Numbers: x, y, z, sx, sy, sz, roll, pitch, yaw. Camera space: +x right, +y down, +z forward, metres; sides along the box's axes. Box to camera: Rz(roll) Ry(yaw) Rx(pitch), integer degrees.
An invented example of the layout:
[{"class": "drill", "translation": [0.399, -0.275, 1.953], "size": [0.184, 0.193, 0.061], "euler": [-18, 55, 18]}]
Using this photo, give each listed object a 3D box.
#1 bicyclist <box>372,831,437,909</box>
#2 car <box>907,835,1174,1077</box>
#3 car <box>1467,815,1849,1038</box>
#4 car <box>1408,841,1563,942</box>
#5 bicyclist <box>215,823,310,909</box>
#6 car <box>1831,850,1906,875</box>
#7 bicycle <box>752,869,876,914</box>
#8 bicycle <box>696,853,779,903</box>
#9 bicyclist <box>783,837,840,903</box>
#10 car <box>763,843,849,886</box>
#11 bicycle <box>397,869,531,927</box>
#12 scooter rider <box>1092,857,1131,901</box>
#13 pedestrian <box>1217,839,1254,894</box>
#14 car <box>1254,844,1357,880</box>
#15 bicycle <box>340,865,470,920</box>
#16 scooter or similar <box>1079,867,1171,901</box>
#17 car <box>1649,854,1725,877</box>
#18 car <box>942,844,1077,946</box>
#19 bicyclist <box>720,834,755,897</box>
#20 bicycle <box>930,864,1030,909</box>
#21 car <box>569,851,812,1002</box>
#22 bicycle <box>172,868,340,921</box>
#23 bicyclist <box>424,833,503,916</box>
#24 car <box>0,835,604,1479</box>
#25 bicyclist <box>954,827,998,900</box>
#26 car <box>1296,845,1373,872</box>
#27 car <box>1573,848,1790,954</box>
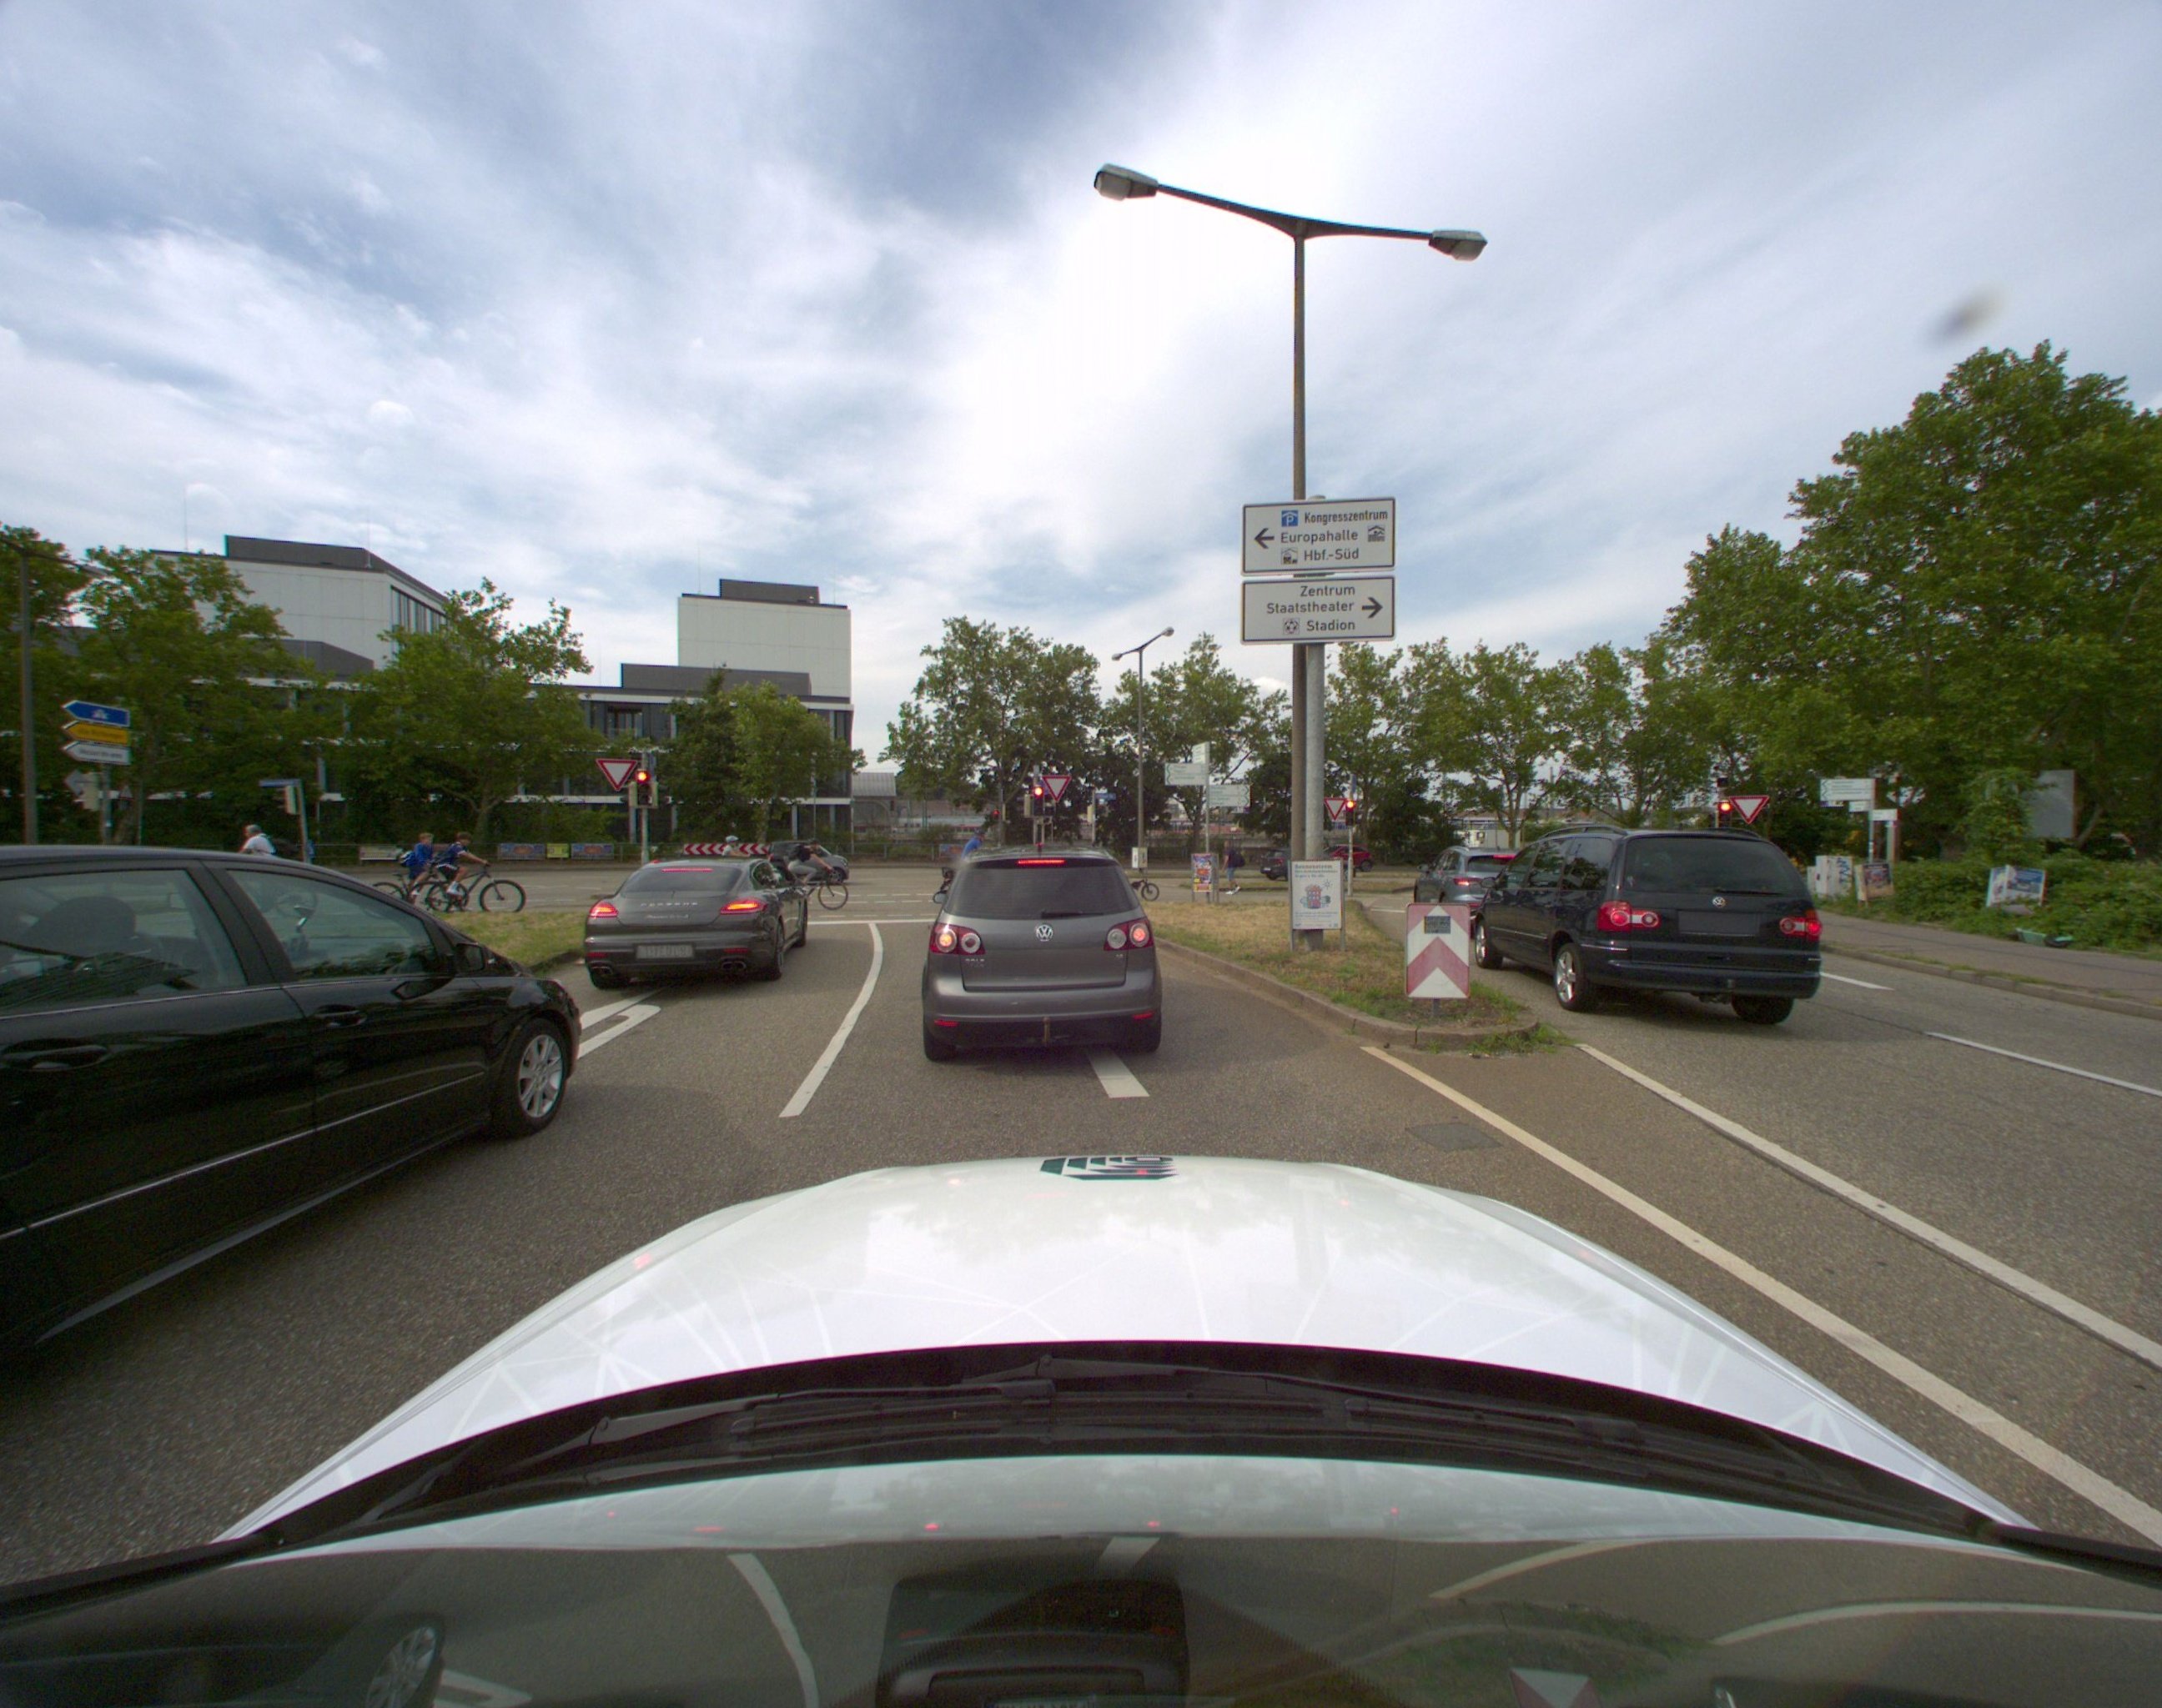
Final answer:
[{"class": "bicyclist", "translation": [-13.659, 0.309, 16.465], "size": [0.842, 1.529, 0.624], "euler": [-1, 1, -22]}, {"class": "car", "translation": [-0.453, 0.643, 7.365], "size": [1.739, 1.546, 4.073], "euler": [-1, 0, -6]}, {"class": "car", "translation": [5.581, 0.568, 8.605], "size": [1.739, 1.724, 4.151], "euler": [2, 0, 11]}, {"class": "car", "translation": [7.397, 0.606, 15.303], "size": [1.679, 1.585, 4.171], "euler": [2, 0, 13]}, {"class": "bicyclist", "translation": [-16.696, 0.224, 16.645], "size": [1.117, 1.696, 0.807], "euler": [-1, 0, -23]}, {"class": "car", "translation": [52.101, 0.530, 53.893], "size": [3.907, 1.596, 1.902], "euler": [-1, 1, -16]}, {"class": "bicycle", "translation": [-6.047, 0.827, 18.510], "size": [2.598, 0.890, 0.698], "euler": [-1, 1, -28]}, {"class": "bicycle", "translation": [-8.770, 0.596, 20.848], "size": [1.907, 1.210, 0.638], "euler": [-1, 1, -20]}, {"class": "bicyclist", "translation": [-6.119, 0.349, 18.462], "size": [1.120, 1.436, 0.642], "euler": [-1, 1, -28]}, {"class": "car", "translation": [-9.362, 0.329, 27.820], "size": [2.719, 1.422, 1.490], "euler": [-1, 0, -19]}, {"class": "bicycle", "translation": [-11.738, 0.816, 15.558], "size": [1.907, 1.013, 0.624], "euler": [-1, 1, -19]}, {"class": "scooter rider", "translation": [0.813, 0.658, 21.938], "size": [0.914, 1.137, 0.806], "euler": [0, 1, -11]}, {"class": "pedestrian", "translation": [4.985, 0.381, 26.201], "size": [1.038, 1.710, 0.858], "euler": [1, 1, 19]}, {"class": "car", "translation": [9.741, 0.314, 35.341], "size": [4.067, 1.450, 1.693], "euler": [-1, 0, -17]}, {"class": "bicycle", "translation": [-13.610, 0.755, 16.463], "size": [1.909, 1.013, 0.624], "euler": [-1, 1, -22]}, {"class": "scooter or similar", "translation": [1.187, 0.802, 22.013], "size": [2.379, 0.849, 0.806], "euler": [0, 1, -11]}, {"class": "car", "translation": [40.047, 0.734, 53.857], "size": [4.336, 1.448, 1.752], "euler": [-1, 0, -15]}, {"class": "car", "translation": [-1.387, 0.596, 14.110], "size": [1.743, 1.482, 4.063], "euler": [-1, 0, -14]}, {"class": "bicyclist", "translation": [-8.778, 0.285, 20.829], "size": [0.782, 1.581, 0.650], "euler": [-1, 1, -20]}, {"class": "bicycle", "translation": [-2.371, 0.737, 19.089], "size": [2.233, 0.952, 0.807], "euler": [-1, 0, -17]}, {"class": "car", "translation": [-4.625, 0.694, 10.433], "size": [1.821, 1.414, 4.754], "euler": [0, 1, -13]}, {"class": "bicycle", "translation": [-16.756, 0.801, 16.624], "size": [2.238, 0.952, 0.805], "euler": [-1, 0, -23]}, {"class": "bicyclist", "translation": [-11.757, 0.370, 15.533], "size": [1.019, 1.539, 0.624], "euler": [-1, 1, -19]}, {"class": "car", "translation": [-3.644, 0.725, 2.966], "size": [1.755, 1.575, 4.028], "euler": [0, 1, -6]}, {"class": "bicyclist", "translation": [-2.468, 0.213, 19.042], "size": [0.883, 1.656, 0.807], "euler": [-1, 0, -17]}, {"class": "car", "translation": [14.365, 0.211, 46.188], "size": [3.963, 1.448, 1.692], "euler": [-1, 0, -19]}, {"class": "car", "translation": [10.938, 0.760, 15.237], "size": [1.738, 1.643, 4.152], "euler": [2, 0, 13]}]
